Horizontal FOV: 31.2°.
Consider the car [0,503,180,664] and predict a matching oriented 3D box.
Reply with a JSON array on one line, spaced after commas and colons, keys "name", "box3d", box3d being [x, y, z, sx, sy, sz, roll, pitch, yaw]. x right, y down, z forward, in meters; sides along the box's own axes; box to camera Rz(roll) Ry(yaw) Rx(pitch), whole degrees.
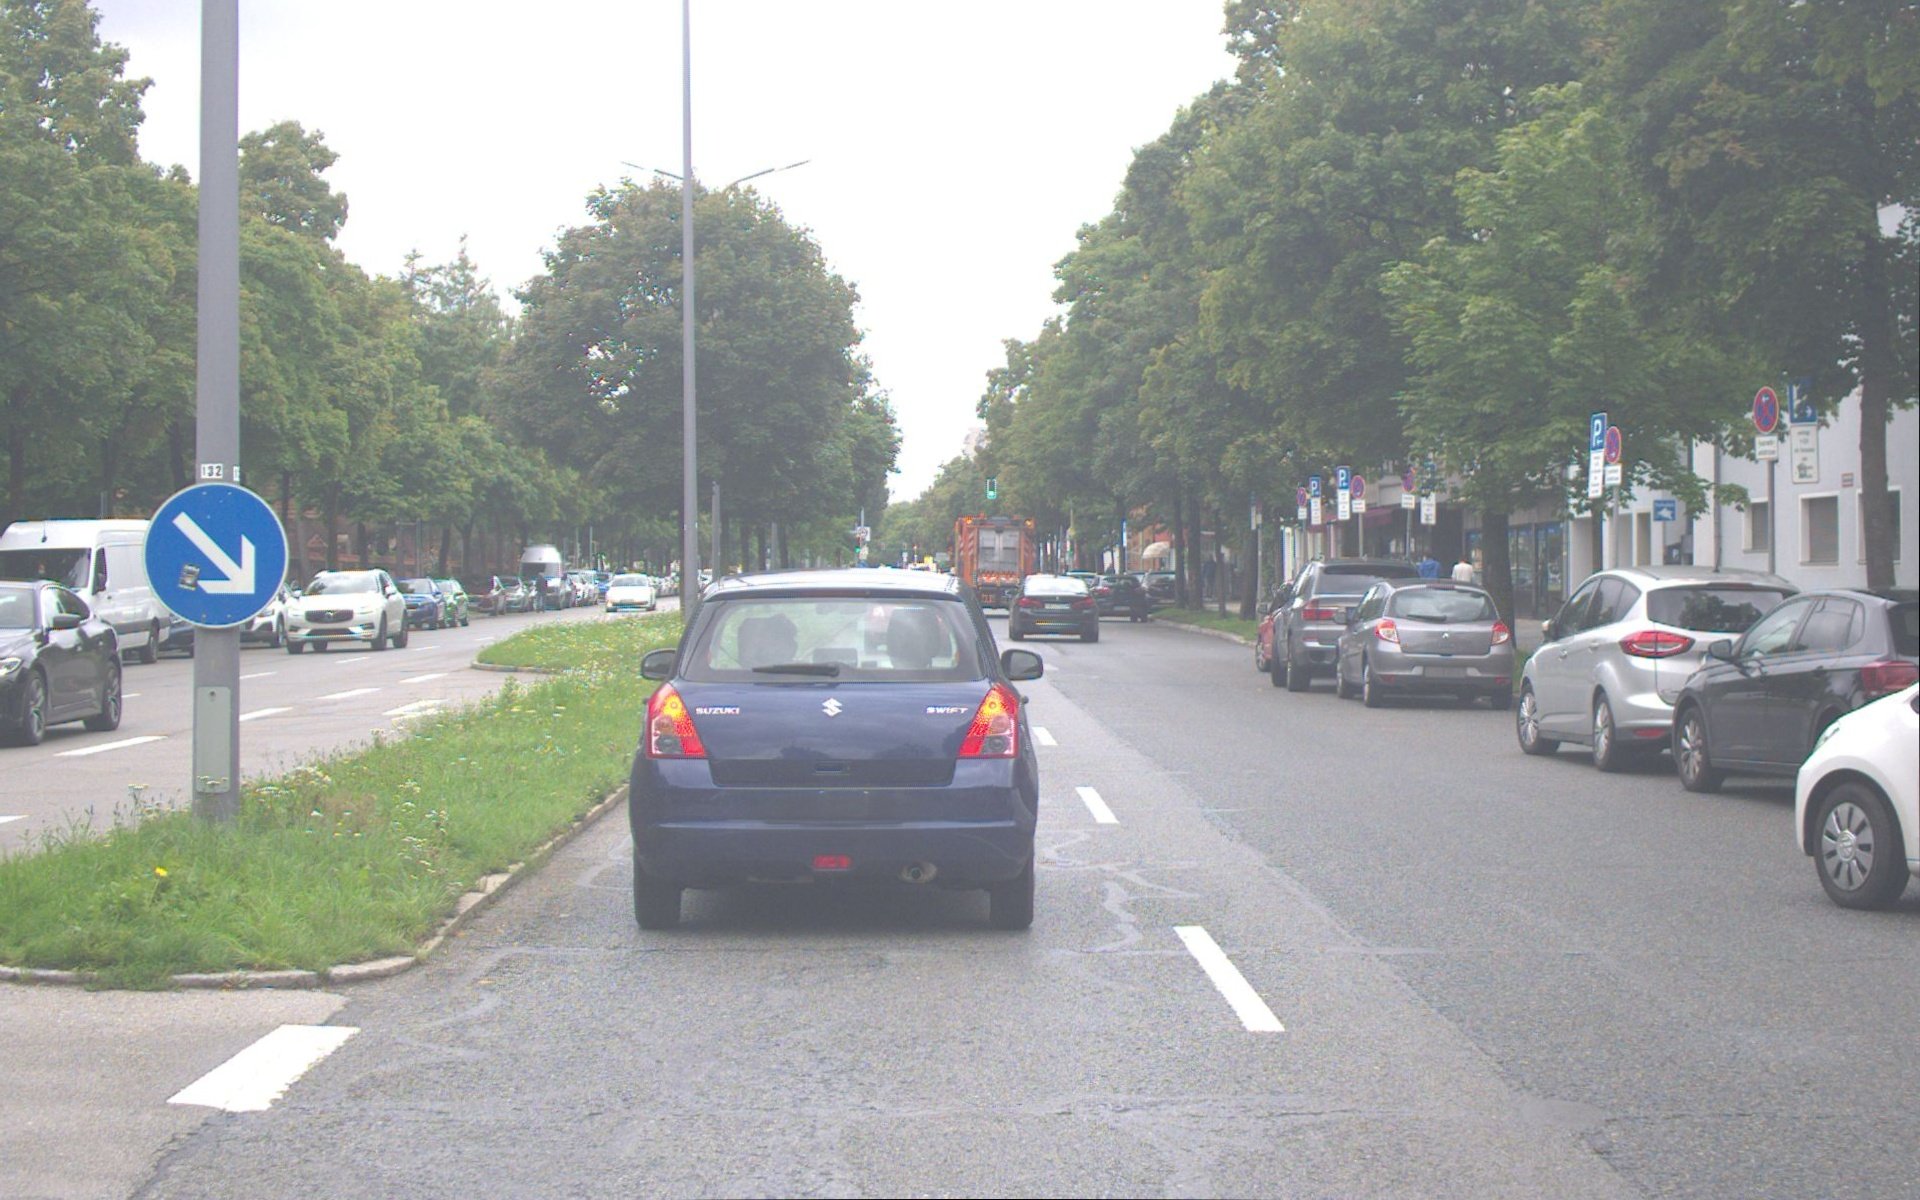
[{"name": "car", "box3d": [-15.586, -0.322, 60.355, 2.139, 2.635, 7.105, -1, 1, 0]}]

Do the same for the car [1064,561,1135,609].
[{"name": "car", "box3d": [4.277, -0.466, 105.680, 1.993, 1.447, 4.000, 0, 1, 0]}]

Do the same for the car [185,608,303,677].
[{"name": "car", "box3d": [-15.787, 0.928, 76.006, 1.857, 1.485, 4.142, 0, 0, -2]}]

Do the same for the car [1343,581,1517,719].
[{"name": "car", "box3d": [5.491, 0.551, 40.522, 1.829, 1.517, 3.770, 0, 1, 5]}]

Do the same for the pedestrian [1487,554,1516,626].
[{"name": "pedestrian", "box3d": [12.435, -0.236, 78.988, 0.541, 1.635, 0.724, 0, 0, -1]}]

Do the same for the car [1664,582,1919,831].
[{"name": "car", "box3d": [6.099, 0.627, 22.565, 1.829, 1.468, 3.889, 0, 1, -5]}]

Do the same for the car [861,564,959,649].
[{"name": "car", "box3d": [-0.924, 0.092, 63.332, 1.718, 1.495, 4.301, 1, 1, -1]}]

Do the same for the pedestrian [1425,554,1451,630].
[{"name": "pedestrian", "box3d": [10.916, -0.176, 78.547, 0.499, 1.727, 0.733, 0, 0, -1]}]

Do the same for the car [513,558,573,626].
[{"name": "car", "box3d": [-18.507, -0.365, 152.754, 2.185, 2.944, 6.192, 1, 0, -3]}]

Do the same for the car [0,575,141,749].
[{"name": "car", "box3d": [-8.827, 0.513, 31.032, 1.815, 1.443, 4.782, -1, 1, -2]}]

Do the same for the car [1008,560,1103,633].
[{"name": "car", "box3d": [2.058, -0.091, 74.965, 1.821, 1.472, 4.691, 2, 0, -1]}]

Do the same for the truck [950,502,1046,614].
[{"name": "truck", "box3d": [1.213, -1.418, 116.844, 3.041, 3.545, 13.674, 0, 1, 0]}]

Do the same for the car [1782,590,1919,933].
[{"name": "car", "box3d": [5.321, 0.713, 14.632, 1.686, 1.485, 3.435, 0, 1, -28]}]

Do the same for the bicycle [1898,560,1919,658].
[{"name": "bicycle", "box3d": [14.189, 0.124, 49.306, 0.702, 1.402, 2.593, -2, 0, -1]}]

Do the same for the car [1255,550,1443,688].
[{"name": "car", "box3d": [5.099, 0.213, 45.596, 1.829, 1.740, 4.508, 0, 1, -2]}]

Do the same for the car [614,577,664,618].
[{"name": "car", "box3d": [-12.731, -0.104, 136.607, 1.761, 1.532, 4.315, -3, 1, -3]}]

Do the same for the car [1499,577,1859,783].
[{"name": "car", "box3d": [5.715, 0.580, 27.892, 1.829, 1.517, 4.524, 0, 1, -2]}]

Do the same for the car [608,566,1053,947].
[{"name": "car", "box3d": [-0.509, 0.601, 15.579, 1.753, 1.499, 4.000, 0, 1, 0]}]

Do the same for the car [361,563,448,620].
[{"name": "car", "box3d": [-15.920, -0.257, 98.678, 1.886, 1.532, 4.315, -3, 1, -2]}]

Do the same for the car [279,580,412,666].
[{"name": "car", "box3d": [-12.320, 0.436, 69.173, 1.851, 1.595, 4.403, -2, 1, 0]}]

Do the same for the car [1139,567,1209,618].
[{"name": "car", "box3d": [7.035, -0.275, 113.294, 1.993, 1.637, 4.333, 0, 1, 0]}]

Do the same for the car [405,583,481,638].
[{"name": "car", "box3d": [-15.663, 0.306, 104.341, 1.638, 1.532, 4.315, -3, 1, -1]}]

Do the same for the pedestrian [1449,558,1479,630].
[{"name": "pedestrian", "box3d": [11.513, -0.149, 78.548, 0.549, 1.624, 0.641, -2, 0, 0]}]
